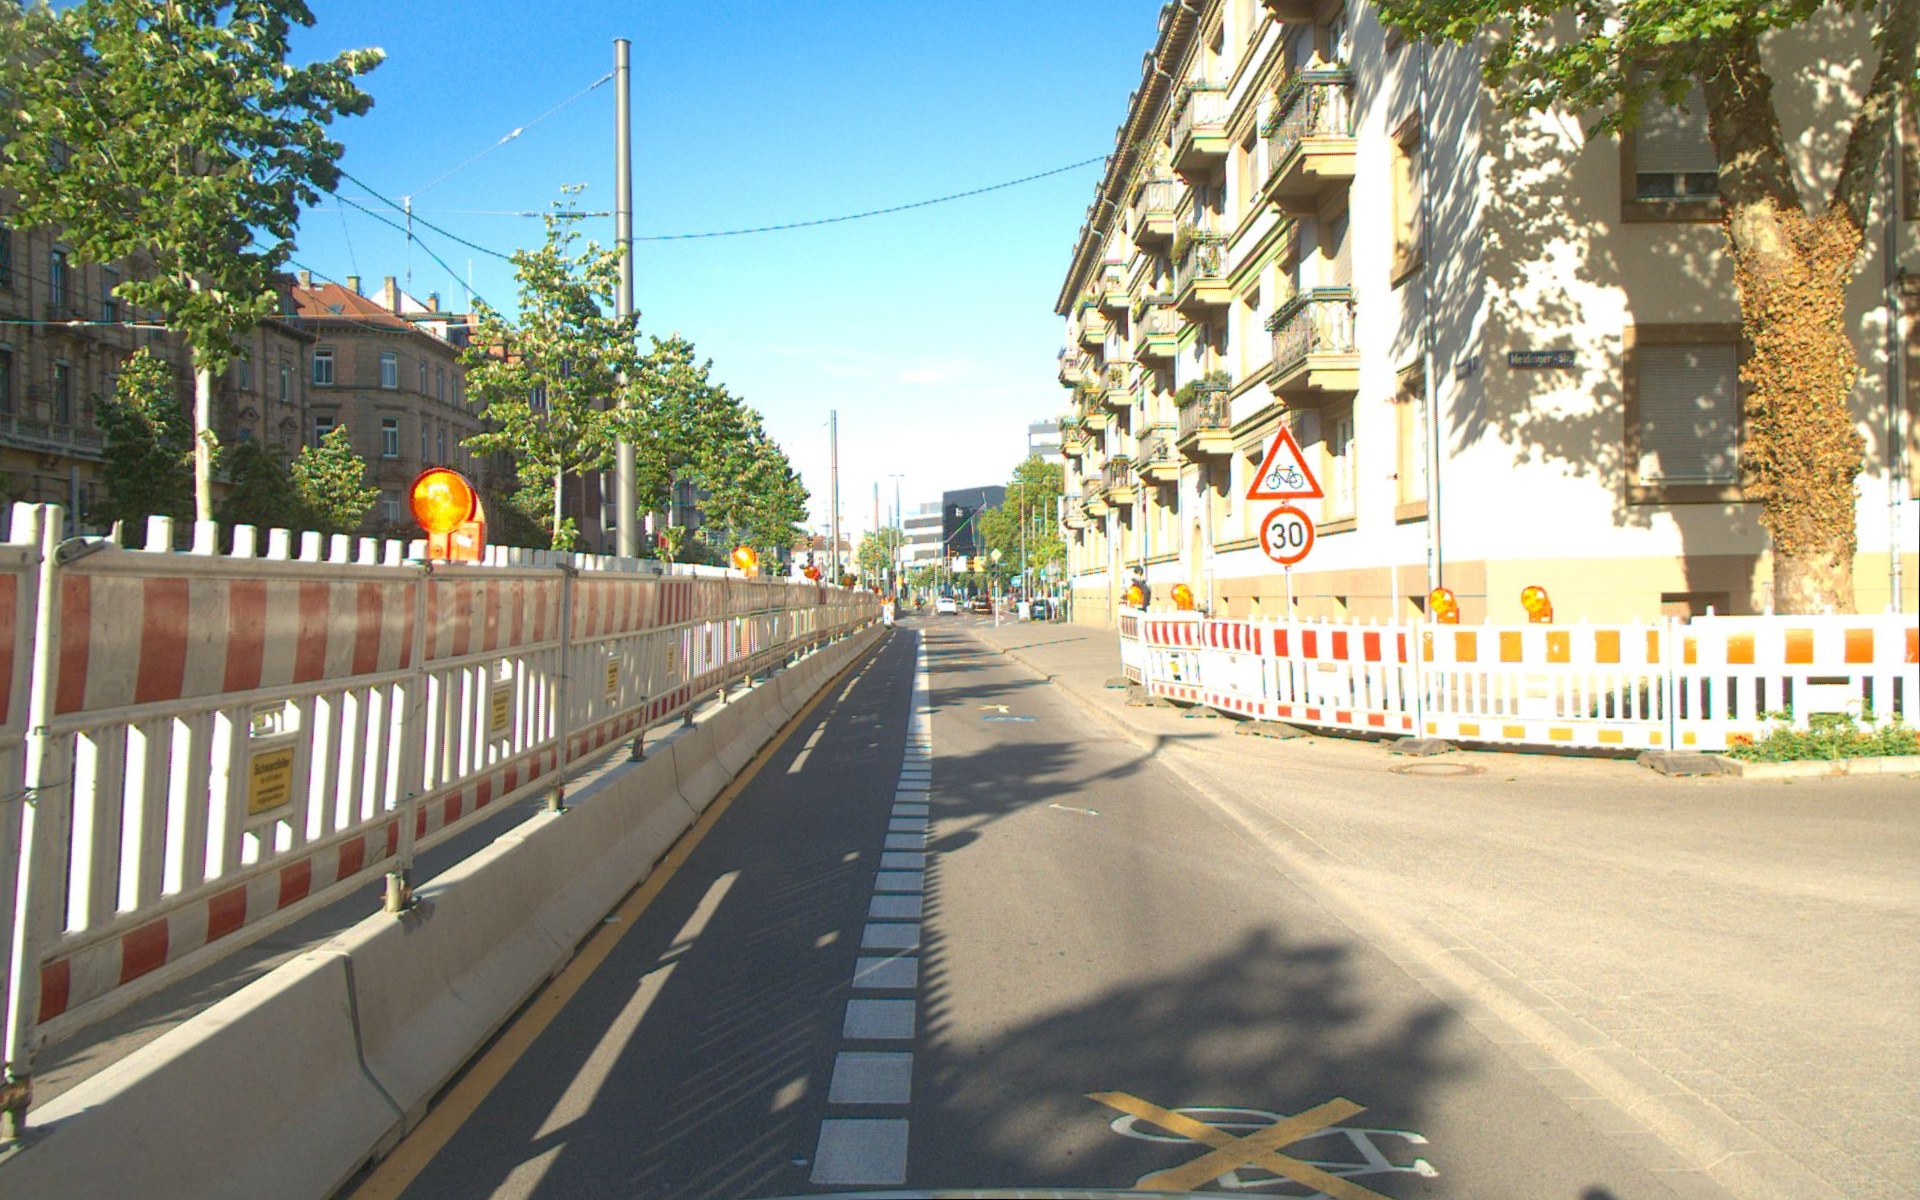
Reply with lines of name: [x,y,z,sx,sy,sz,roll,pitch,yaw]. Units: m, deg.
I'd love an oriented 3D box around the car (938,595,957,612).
car: [-1.158,0.315,150.913,1.744,1.439,4.817,1,0,-1]

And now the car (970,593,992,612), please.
car: [1.996,0.221,157.436,1.935,1.790,4.632,1,0,0]

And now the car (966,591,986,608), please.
car: [1.559,-0.042,165.037,1.813,1.668,4.377,0,-1,-1]

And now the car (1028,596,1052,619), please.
car: [6.215,0.588,128.285,1.684,1.665,4.234,-2,0,5]

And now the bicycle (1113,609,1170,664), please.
bicycle: [3.363,0.661,30.775,0.752,0.969,2.197,-1,0,-2]

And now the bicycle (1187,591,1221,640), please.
bicycle: [5.731,0.360,38.904,0.409,1.114,2.197,-1,0,-1]

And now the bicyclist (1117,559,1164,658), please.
bicyclist: [3.355,0.159,30.827,0.718,1.794,0.937,-1,0,-2]

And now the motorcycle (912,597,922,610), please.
motorcycle: [-4.587,0.367,177.210,0.998,1.335,2.914,1,0,0]

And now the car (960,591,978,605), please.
car: [0.975,-0.221,181.900,1.813,1.524,4.378,-1,0,-1]
